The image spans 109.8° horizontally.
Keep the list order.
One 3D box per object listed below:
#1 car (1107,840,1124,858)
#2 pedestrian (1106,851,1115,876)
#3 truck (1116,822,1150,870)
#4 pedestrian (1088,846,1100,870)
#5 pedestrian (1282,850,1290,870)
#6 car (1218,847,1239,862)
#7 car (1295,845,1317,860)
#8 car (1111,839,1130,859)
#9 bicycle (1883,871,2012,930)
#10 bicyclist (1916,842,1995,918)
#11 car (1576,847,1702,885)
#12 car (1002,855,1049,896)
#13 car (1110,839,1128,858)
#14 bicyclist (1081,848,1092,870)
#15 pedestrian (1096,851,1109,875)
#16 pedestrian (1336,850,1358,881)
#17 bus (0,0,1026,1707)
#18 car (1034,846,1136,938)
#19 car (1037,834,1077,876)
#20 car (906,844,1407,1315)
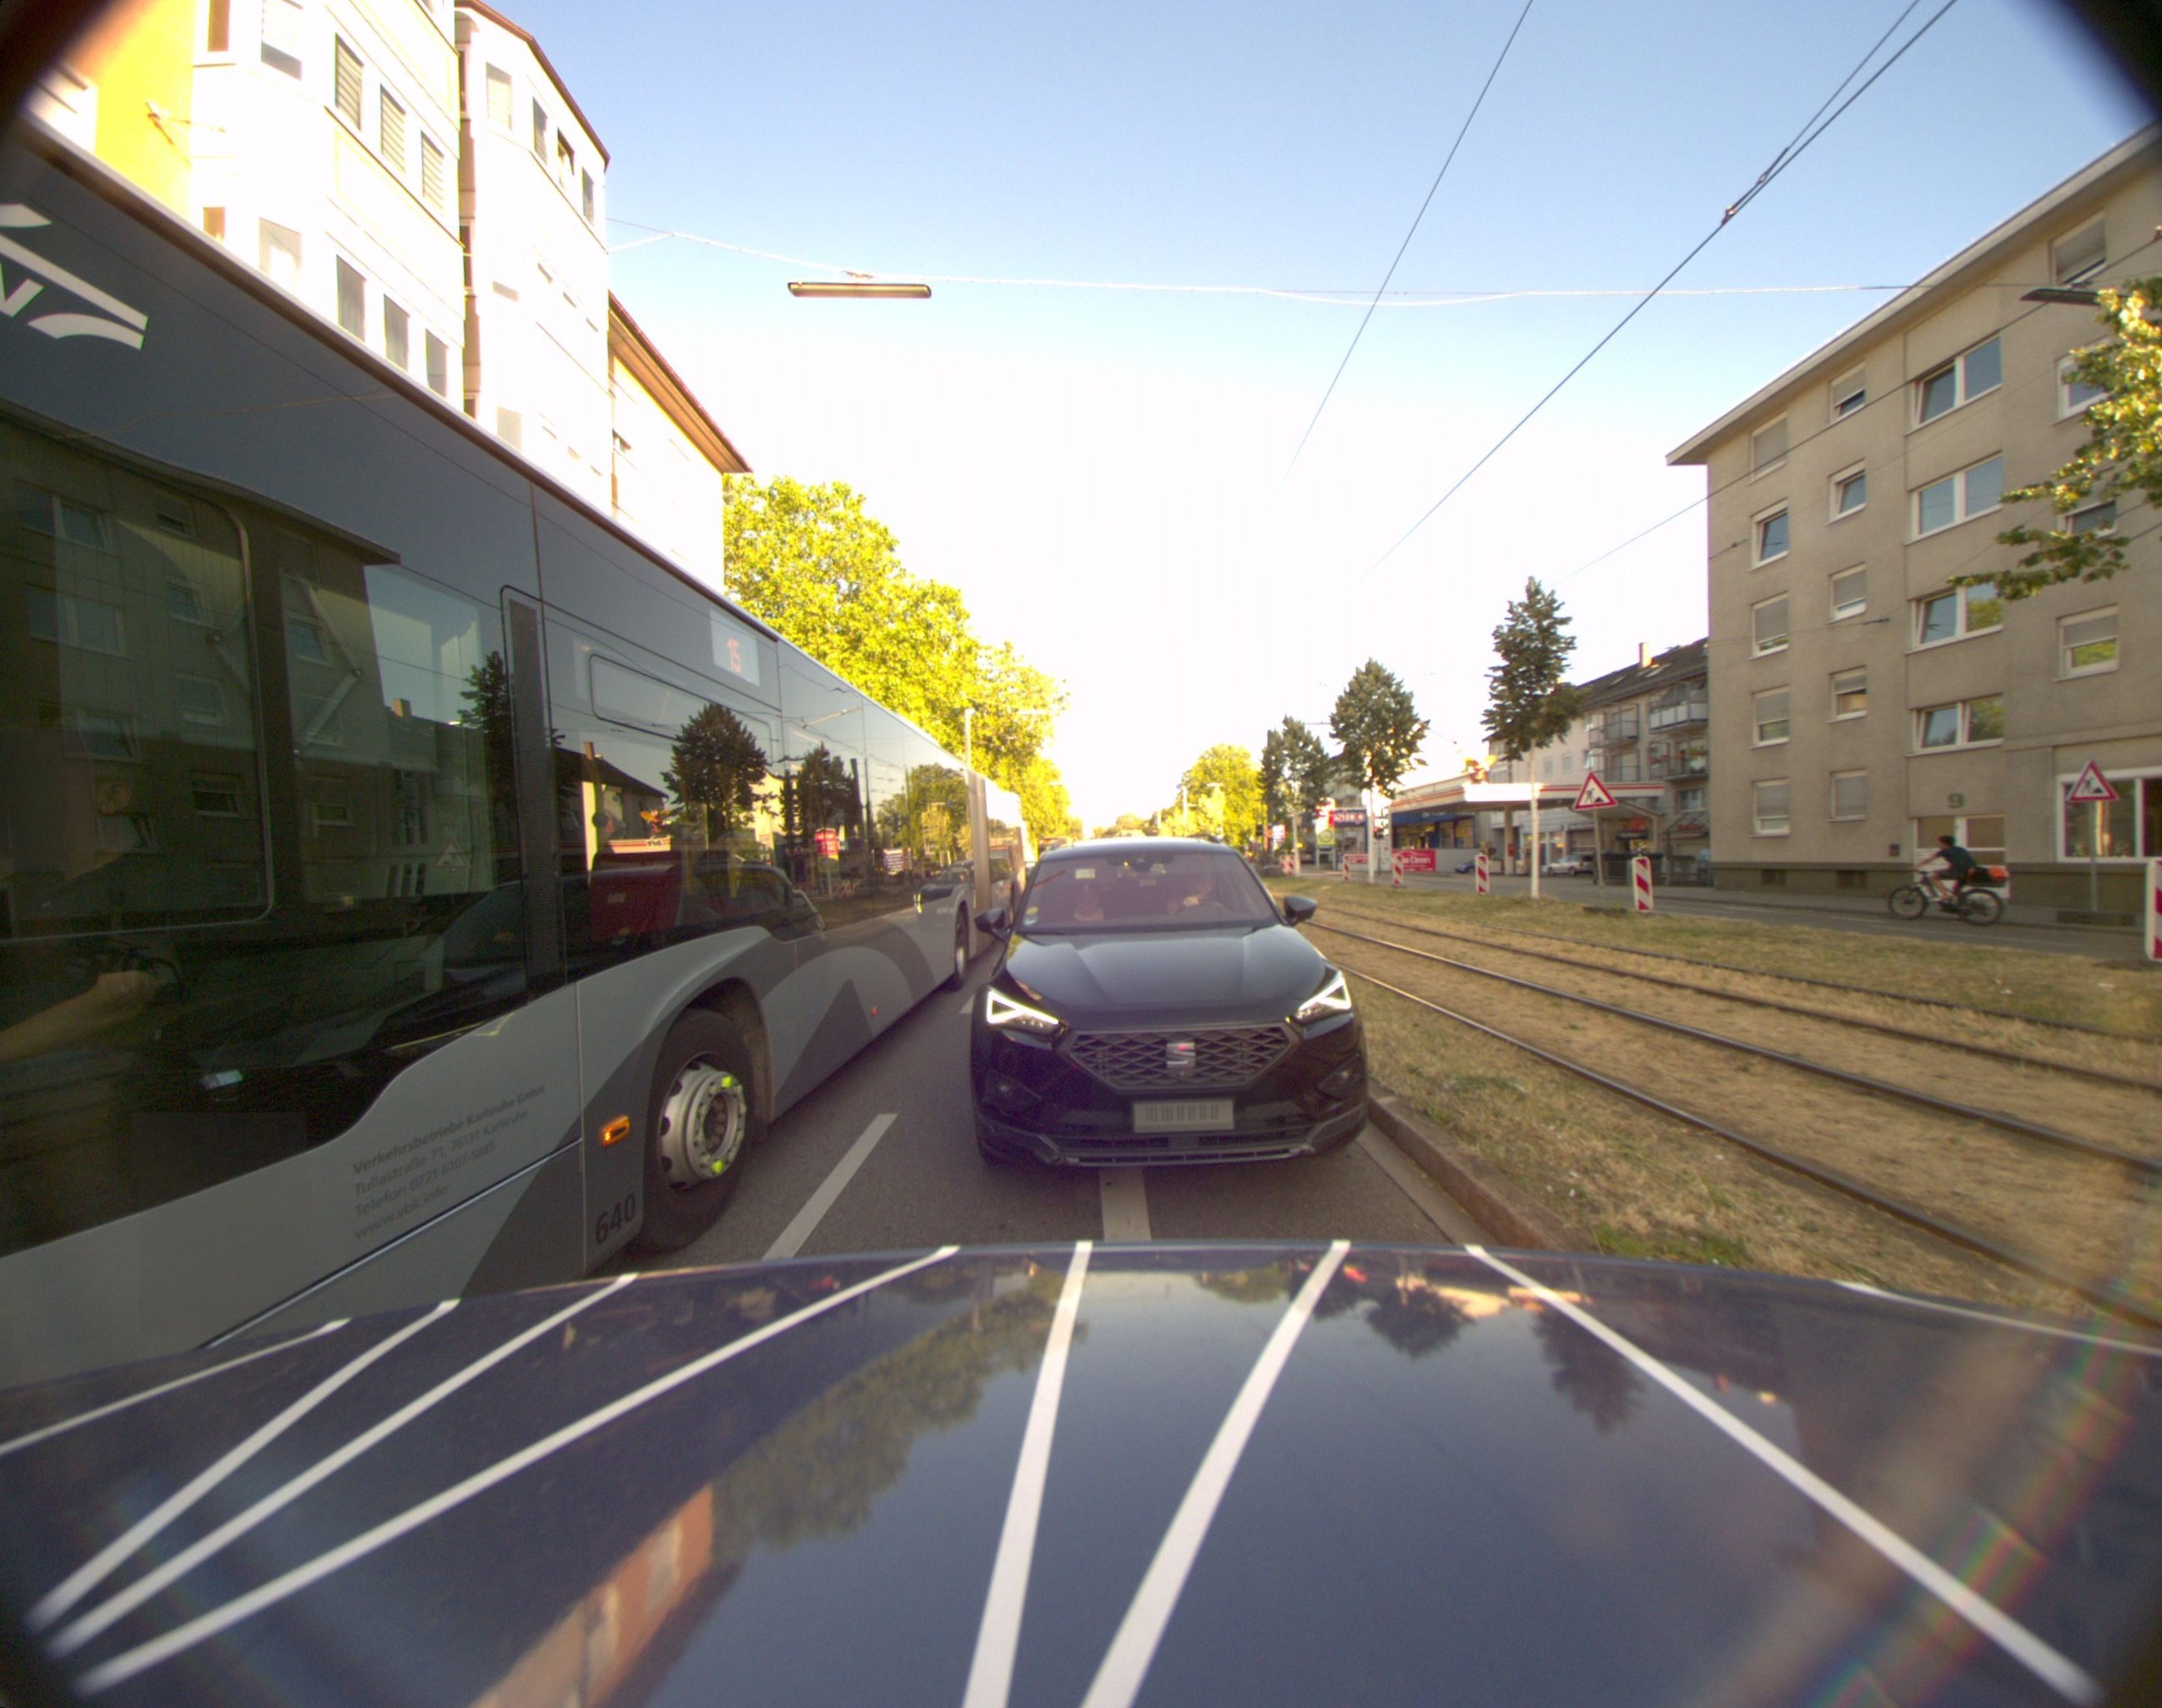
[{"bbox_3d":[4.001,-0.618,87.871,1.767,2.002,3.791,-2,1,1],"label":"car"},{"bbox_3d":[2.411,0.778,61.736,0.625,2.002,0.695,-2,0,0],"label":"pedestrian"},{"bbox_3d":[4.322,-0.686,64.372,2.306,3.798,7.723,-2,1,1],"label":"truck"},{"bbox_3d":[0.829,0.251,47.138,0.618,1.482,0.438,-2,1,-13],"label":"pedestrian"},{"bbox_3d":[20.888,0.617,77.413,0.632,2.002,0.583,0,1,2],"label":"pedestrian"},{"bbox_3d":[17.024,0.023,87.903,1.723,1.601,3.828,-2,1,3],"label":"car"},{"bbox_3d":[25.110,-0.175,84.810,1.781,1.547,4.002,-2,1,9],"label":"car"},{"bbox_3d":[4.073,-0.517,78.517,1.767,2.002,3.791,-2,1,1],"label":"car"},{"bbox_3d":[16.941,0.877,14.929,0.447,1.038,1.861,-1,0,1],"label":"bicycle"},{"bbox_3d":[16.954,0.494,14.744,0.779,1.438,0.650,-1,1,1],"label":"bicyclist"},{"bbox_3d":[22.783,0.501,31.135,3.727,1.460,1.908,0,-1,0],"label":"car"},{"bbox_3d":[-2.382,0.879,33.409,1.750,1.598,3.823,-2,1,-1],"label":"car"},{"bbox_3d":[4.112,-0.574,83.550,1.767,2.002,3.791,-2,1,1],"label":"car"},{"bbox_3d":[0.357,0.315,46.253,0.500,1.303,0.499,-3,1,-17],"label":"bicyclist"},{"bbox_3d":[1.393,0.608,49.775,0.508,1.552,0.700,-1,1,32],"label":"pedestrian"},{"bbox_3d":[10.954,0.467,31.297,0.664,1.263,0.581,-2,0,1],"label":"pedestrian"},{"bbox_3d":[-2.822,0.172,9.060,2.773,3.131,17.740,-2,0,1],"label":"bus"},{"bbox_3d":[0.036,0.757,17.695,1.999,1.740,3.998,-4,1,-1],"label":"car"},{"bbox_3d":[-1.725,0.028,56.243,2.681,2.875,5.452,-2,1,0],"label":"car"},{"bbox_3d":[0.309,0.842,4.829,1.774,1.667,4.000,-3,0,1],"label":"car"}]
